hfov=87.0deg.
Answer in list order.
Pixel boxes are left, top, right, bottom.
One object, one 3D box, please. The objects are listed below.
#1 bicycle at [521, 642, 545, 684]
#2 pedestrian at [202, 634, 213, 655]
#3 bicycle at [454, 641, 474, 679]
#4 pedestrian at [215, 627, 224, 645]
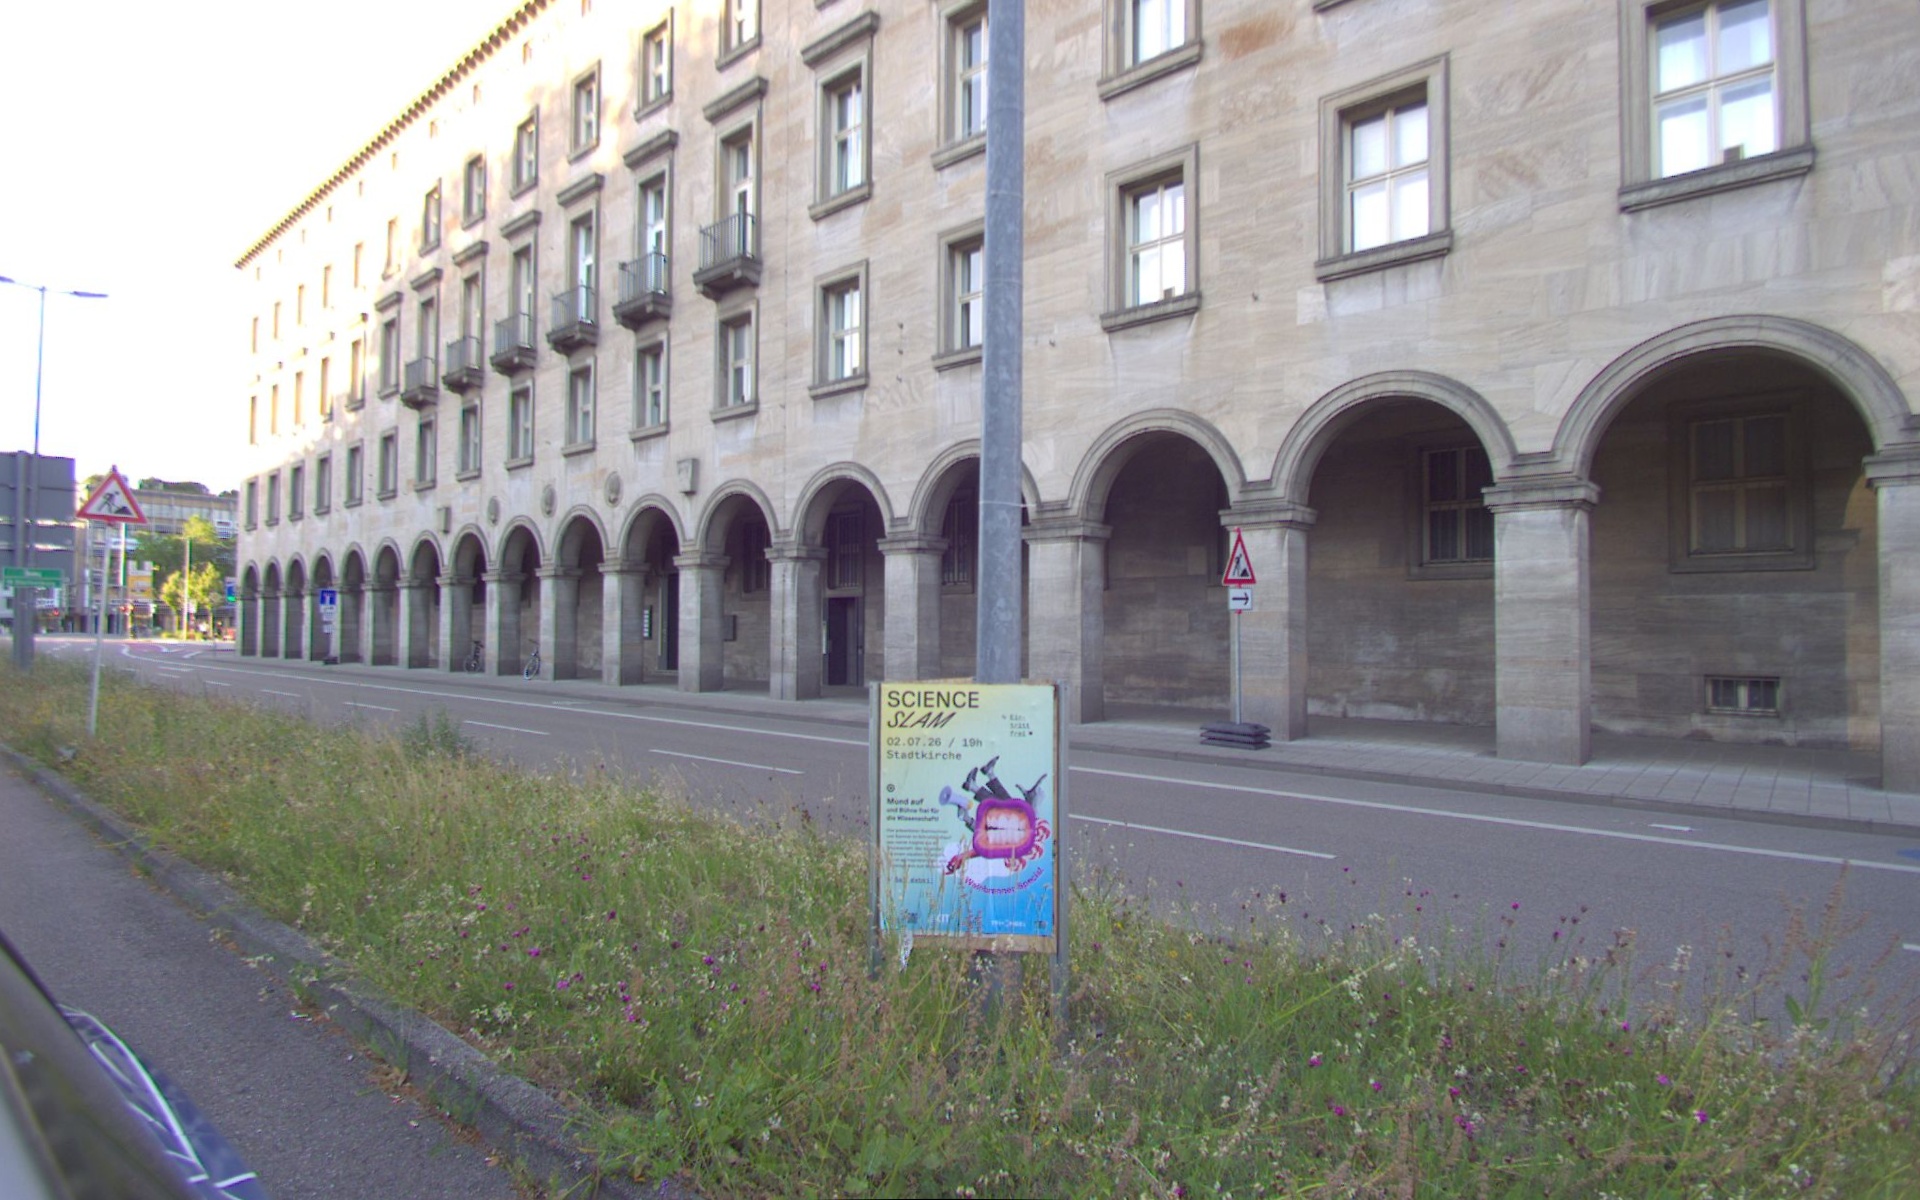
[{"bbox_3d":[-12.696,1.856,30.099,0.505,1.130,2.431,1,-1,-20],"label":"bicycle"},{"bbox_3d":[-64.553,3.793,86.823,0.506,1.771,0.630,-2,-3,41],"label":"pedestrian"},{"bbox_3d":[-16.254,1.945,33.201,0.505,1.188,2.431,1,-2,-25],"label":"bicycle"},{"bbox_3d":[-64.060,3.126,87.530,0.389,1.553,0.519,-2,-3,41],"label":"pedestrian"}]
